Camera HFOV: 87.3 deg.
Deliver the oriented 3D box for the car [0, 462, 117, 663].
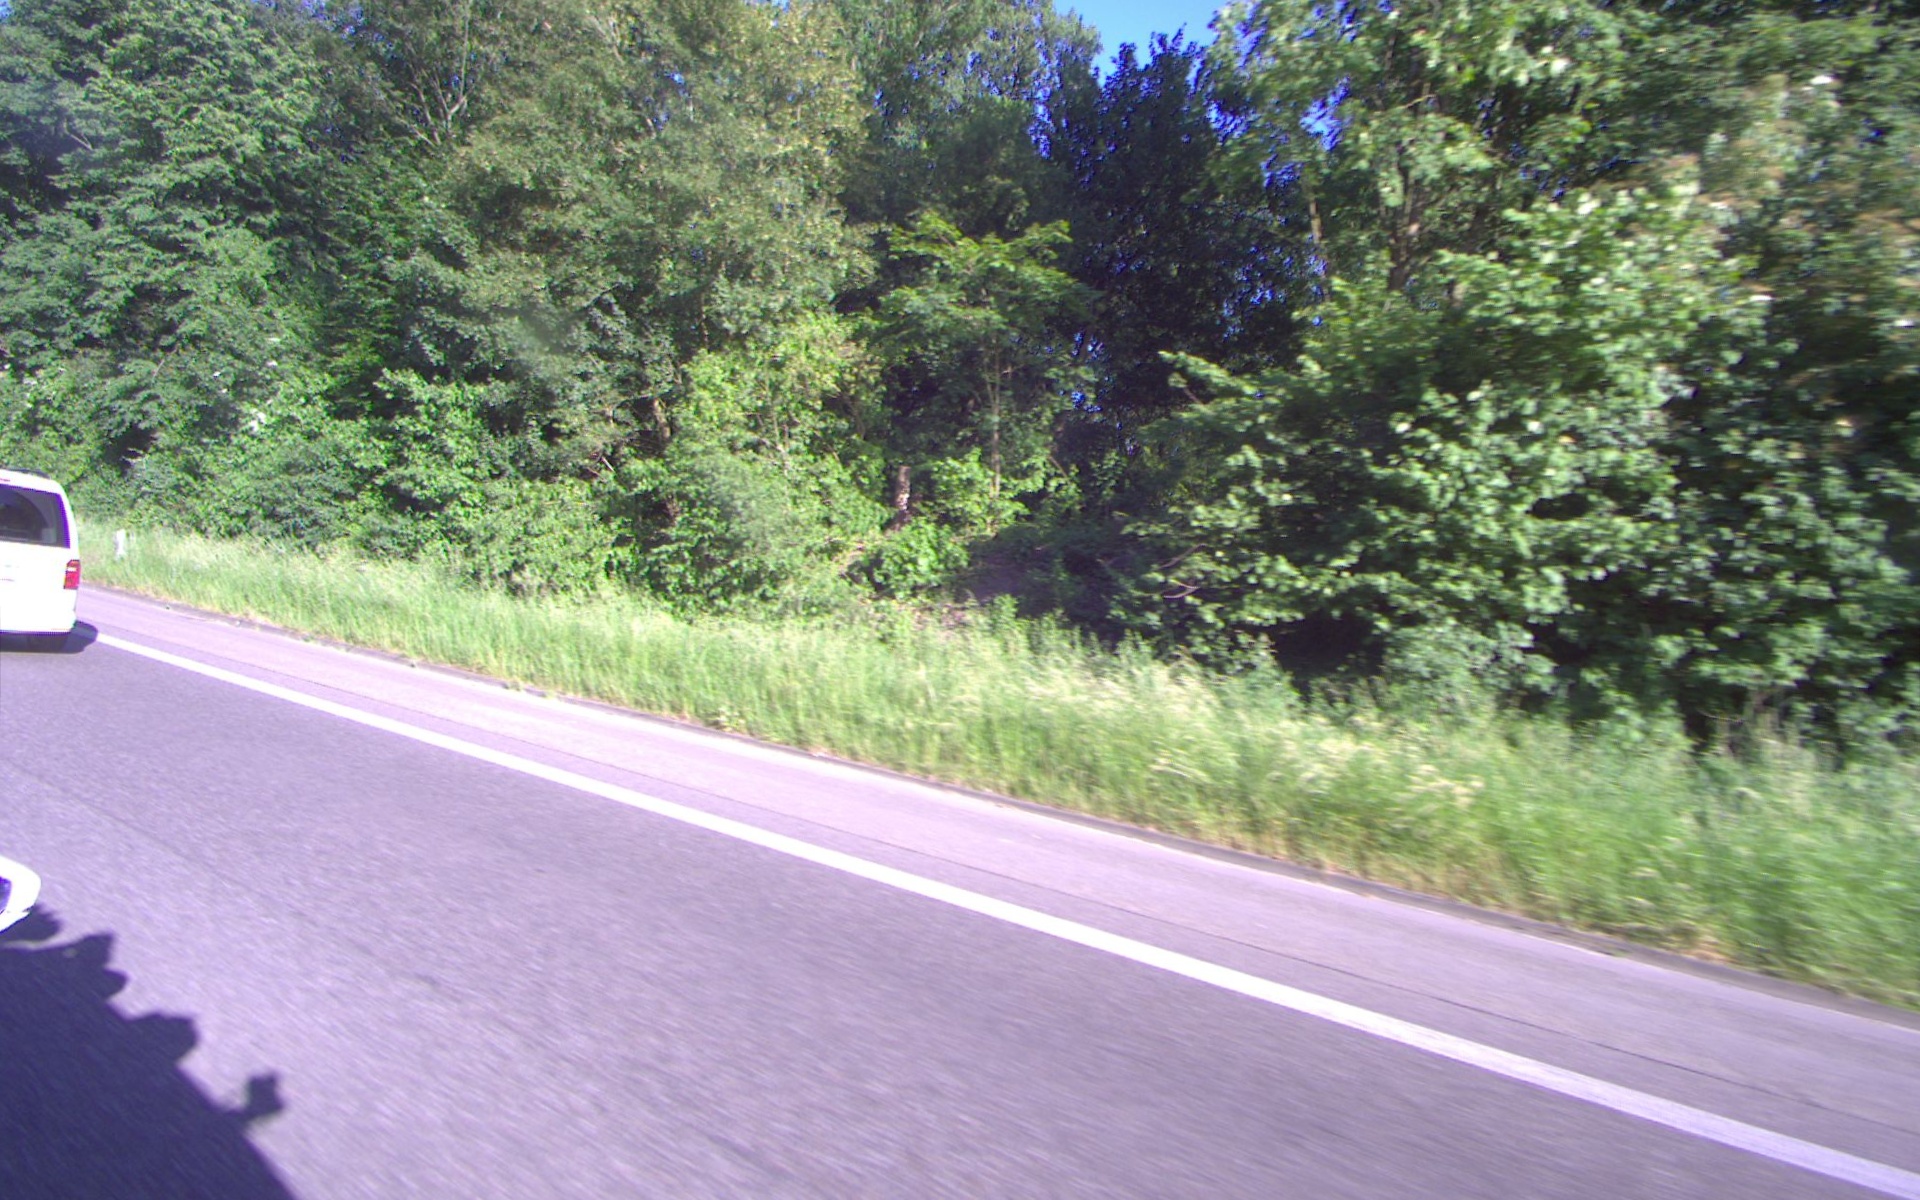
[{"bbox_3d":[-10.921,-0.570,10.479,4.512,1.833,1.802,6,-2,32],"label":"car"}]
